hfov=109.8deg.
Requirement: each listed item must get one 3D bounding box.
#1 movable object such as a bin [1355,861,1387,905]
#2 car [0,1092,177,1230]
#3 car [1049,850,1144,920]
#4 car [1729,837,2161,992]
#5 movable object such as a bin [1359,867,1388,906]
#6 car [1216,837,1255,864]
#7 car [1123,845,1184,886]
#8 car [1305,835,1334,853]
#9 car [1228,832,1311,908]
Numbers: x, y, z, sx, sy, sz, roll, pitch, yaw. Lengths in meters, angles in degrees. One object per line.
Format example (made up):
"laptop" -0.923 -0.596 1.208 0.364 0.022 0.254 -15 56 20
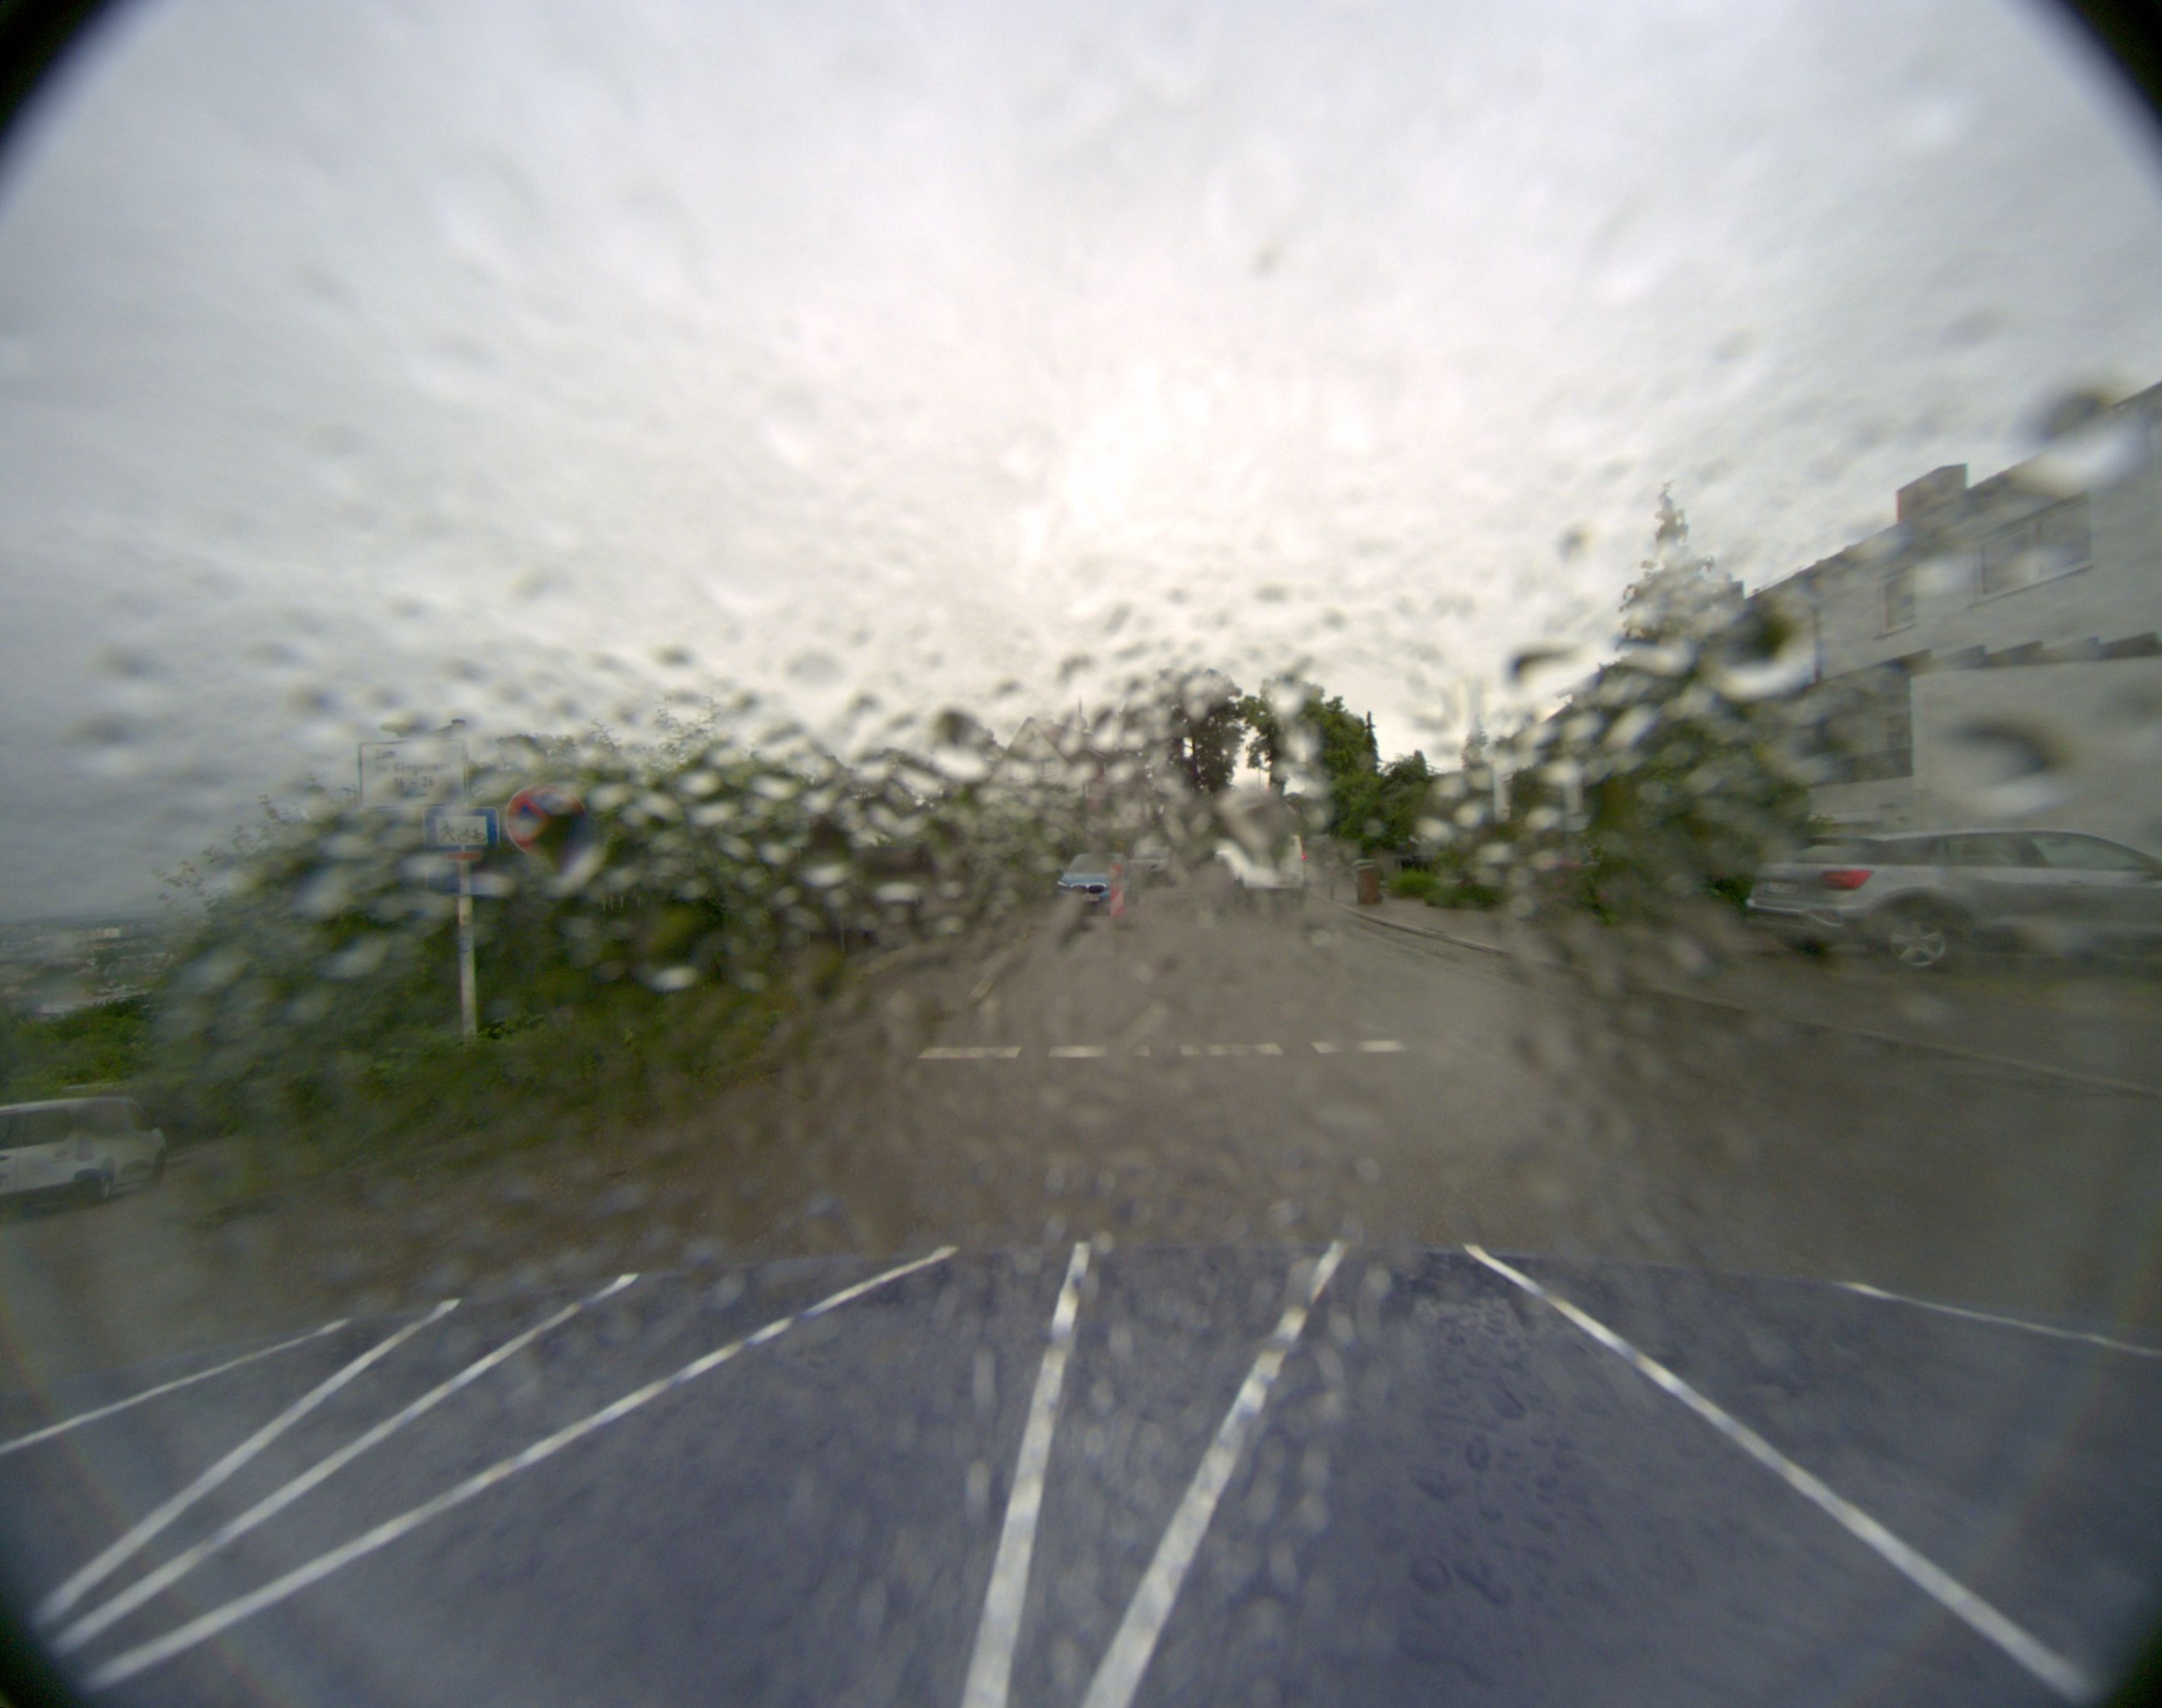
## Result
"movable object such as a bin" 7.260 0.725 19.033 0.692 1.085 0.421 0 0 11
"car" -17.284 5.147 12.883 1.758 1.728 3.997 -3 -11 -39
"car" 0.515 0.690 19.111 1.798 1.460 4.218 -2 1 9
"car" 9.818 0.561 8.130 3.992 1.432 1.770 0 2 14
"movable object such as a bin" 7.154 0.784 18.572 0.580 0.934 0.504 0 0 11
"car" 10.291 -0.254 50.430 1.662 1.630 4.222 -2 1 24
"car" 3.135 0.428 32.042 1.904 1.532 4.219 -2 1 14
"car" 22.390 -0.952 71.268 1.662 1.630 4.223 -2 1 30
"car" 5.050 0.369 20.843 1.780 1.854 4.218 -1 1 9
